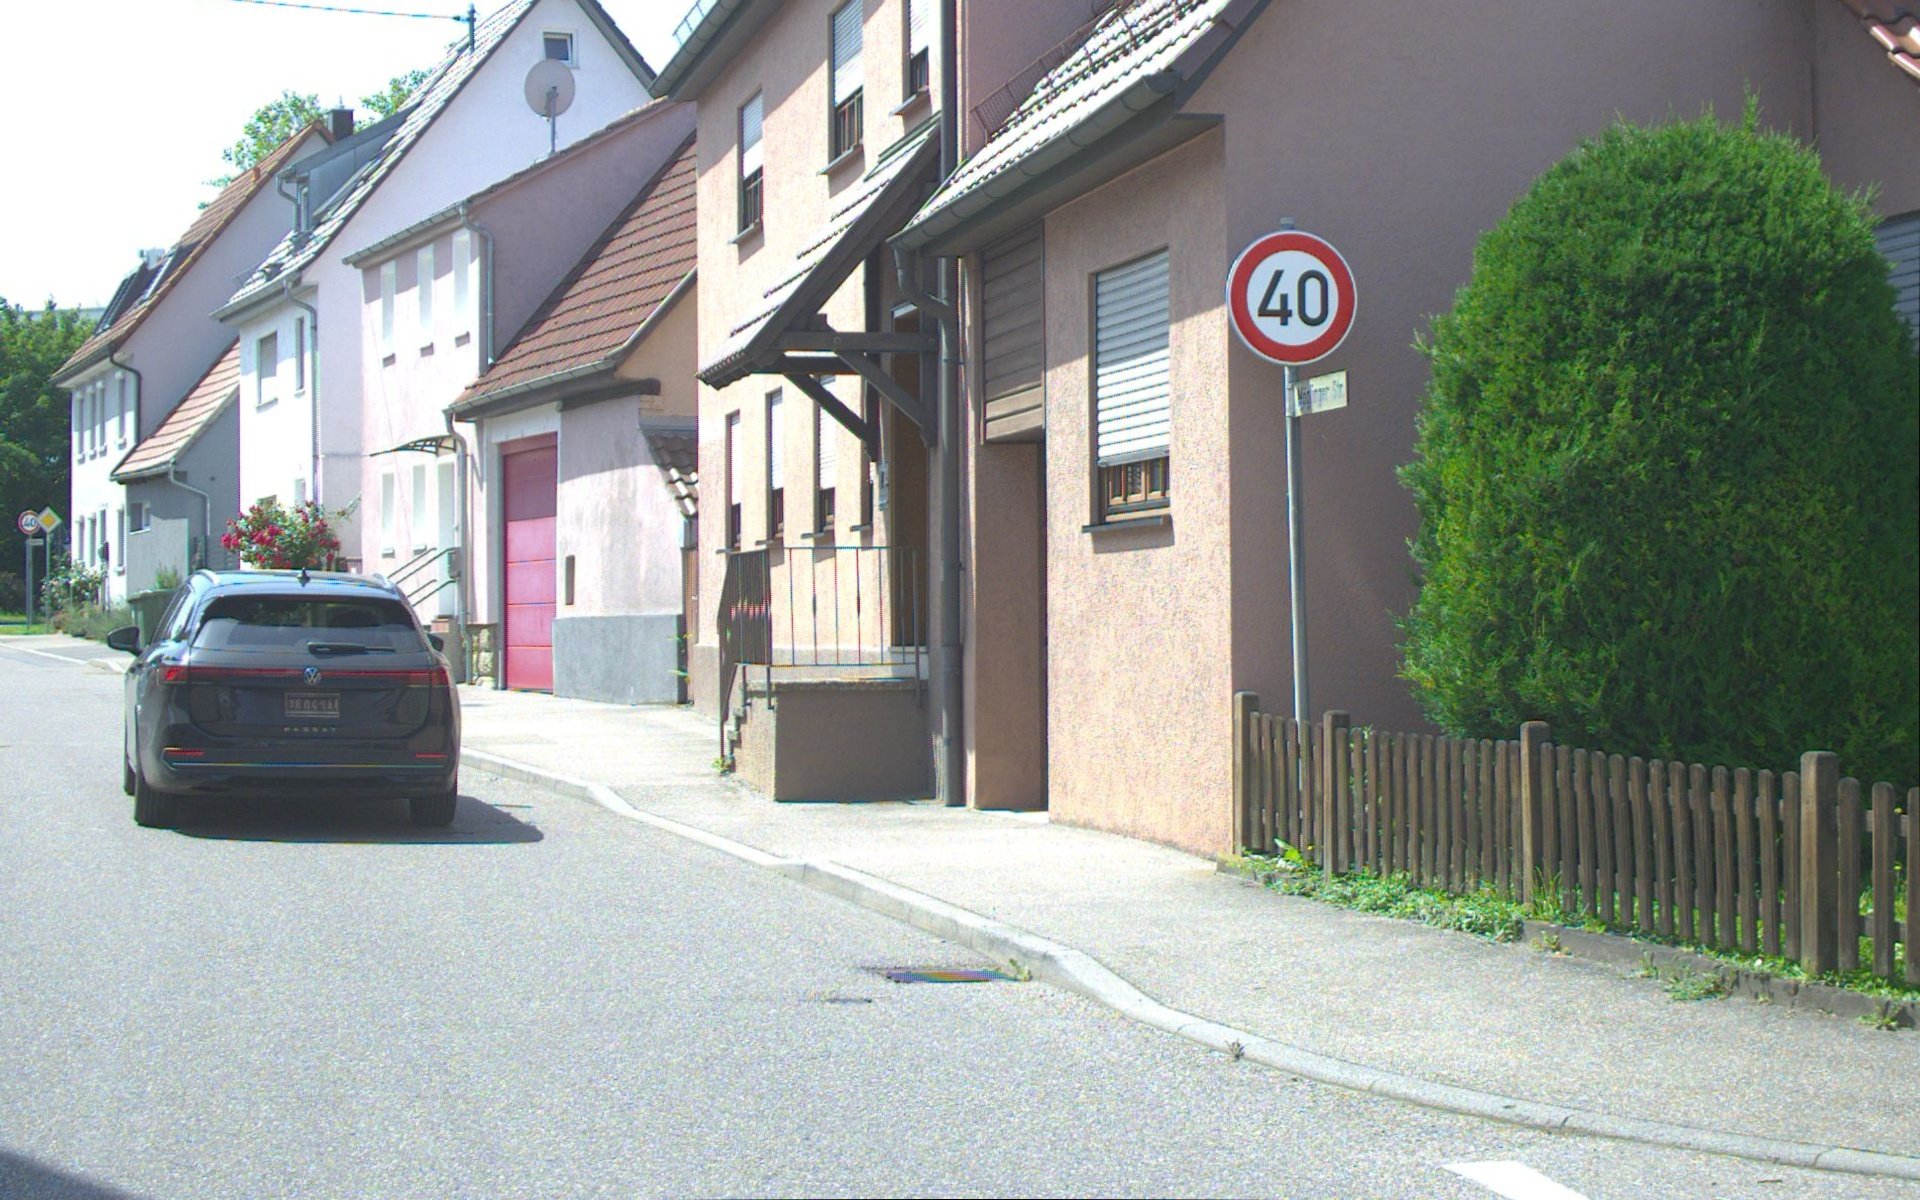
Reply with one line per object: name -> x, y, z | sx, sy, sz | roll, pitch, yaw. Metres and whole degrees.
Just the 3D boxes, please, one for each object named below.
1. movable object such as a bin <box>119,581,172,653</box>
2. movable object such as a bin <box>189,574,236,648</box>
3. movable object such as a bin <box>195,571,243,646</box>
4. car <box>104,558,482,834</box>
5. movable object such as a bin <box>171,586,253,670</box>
movable object such as a bin -> -13.313, 0.272, 56.181 | 0.678, 1.151, 0.820 | 1, 0, -25
movable object such as a bin -> -12.212, 0.172, 56.149 | 0.664, 1.190, 0.660 | 0, 1, -21
movable object such as a bin -> -11.969, 0.133, 55.544 | 0.664, 1.190, 0.588 | 0, 1, -21
car -> -4.092, 0.485, 20.513 | 1.841, 1.415, 4.684 | 1, 1, -15
movable object such as a bin -> -10.309, 0.378, 47.383 | 0.875, 1.071, 0.873 | -4, 2, -25
